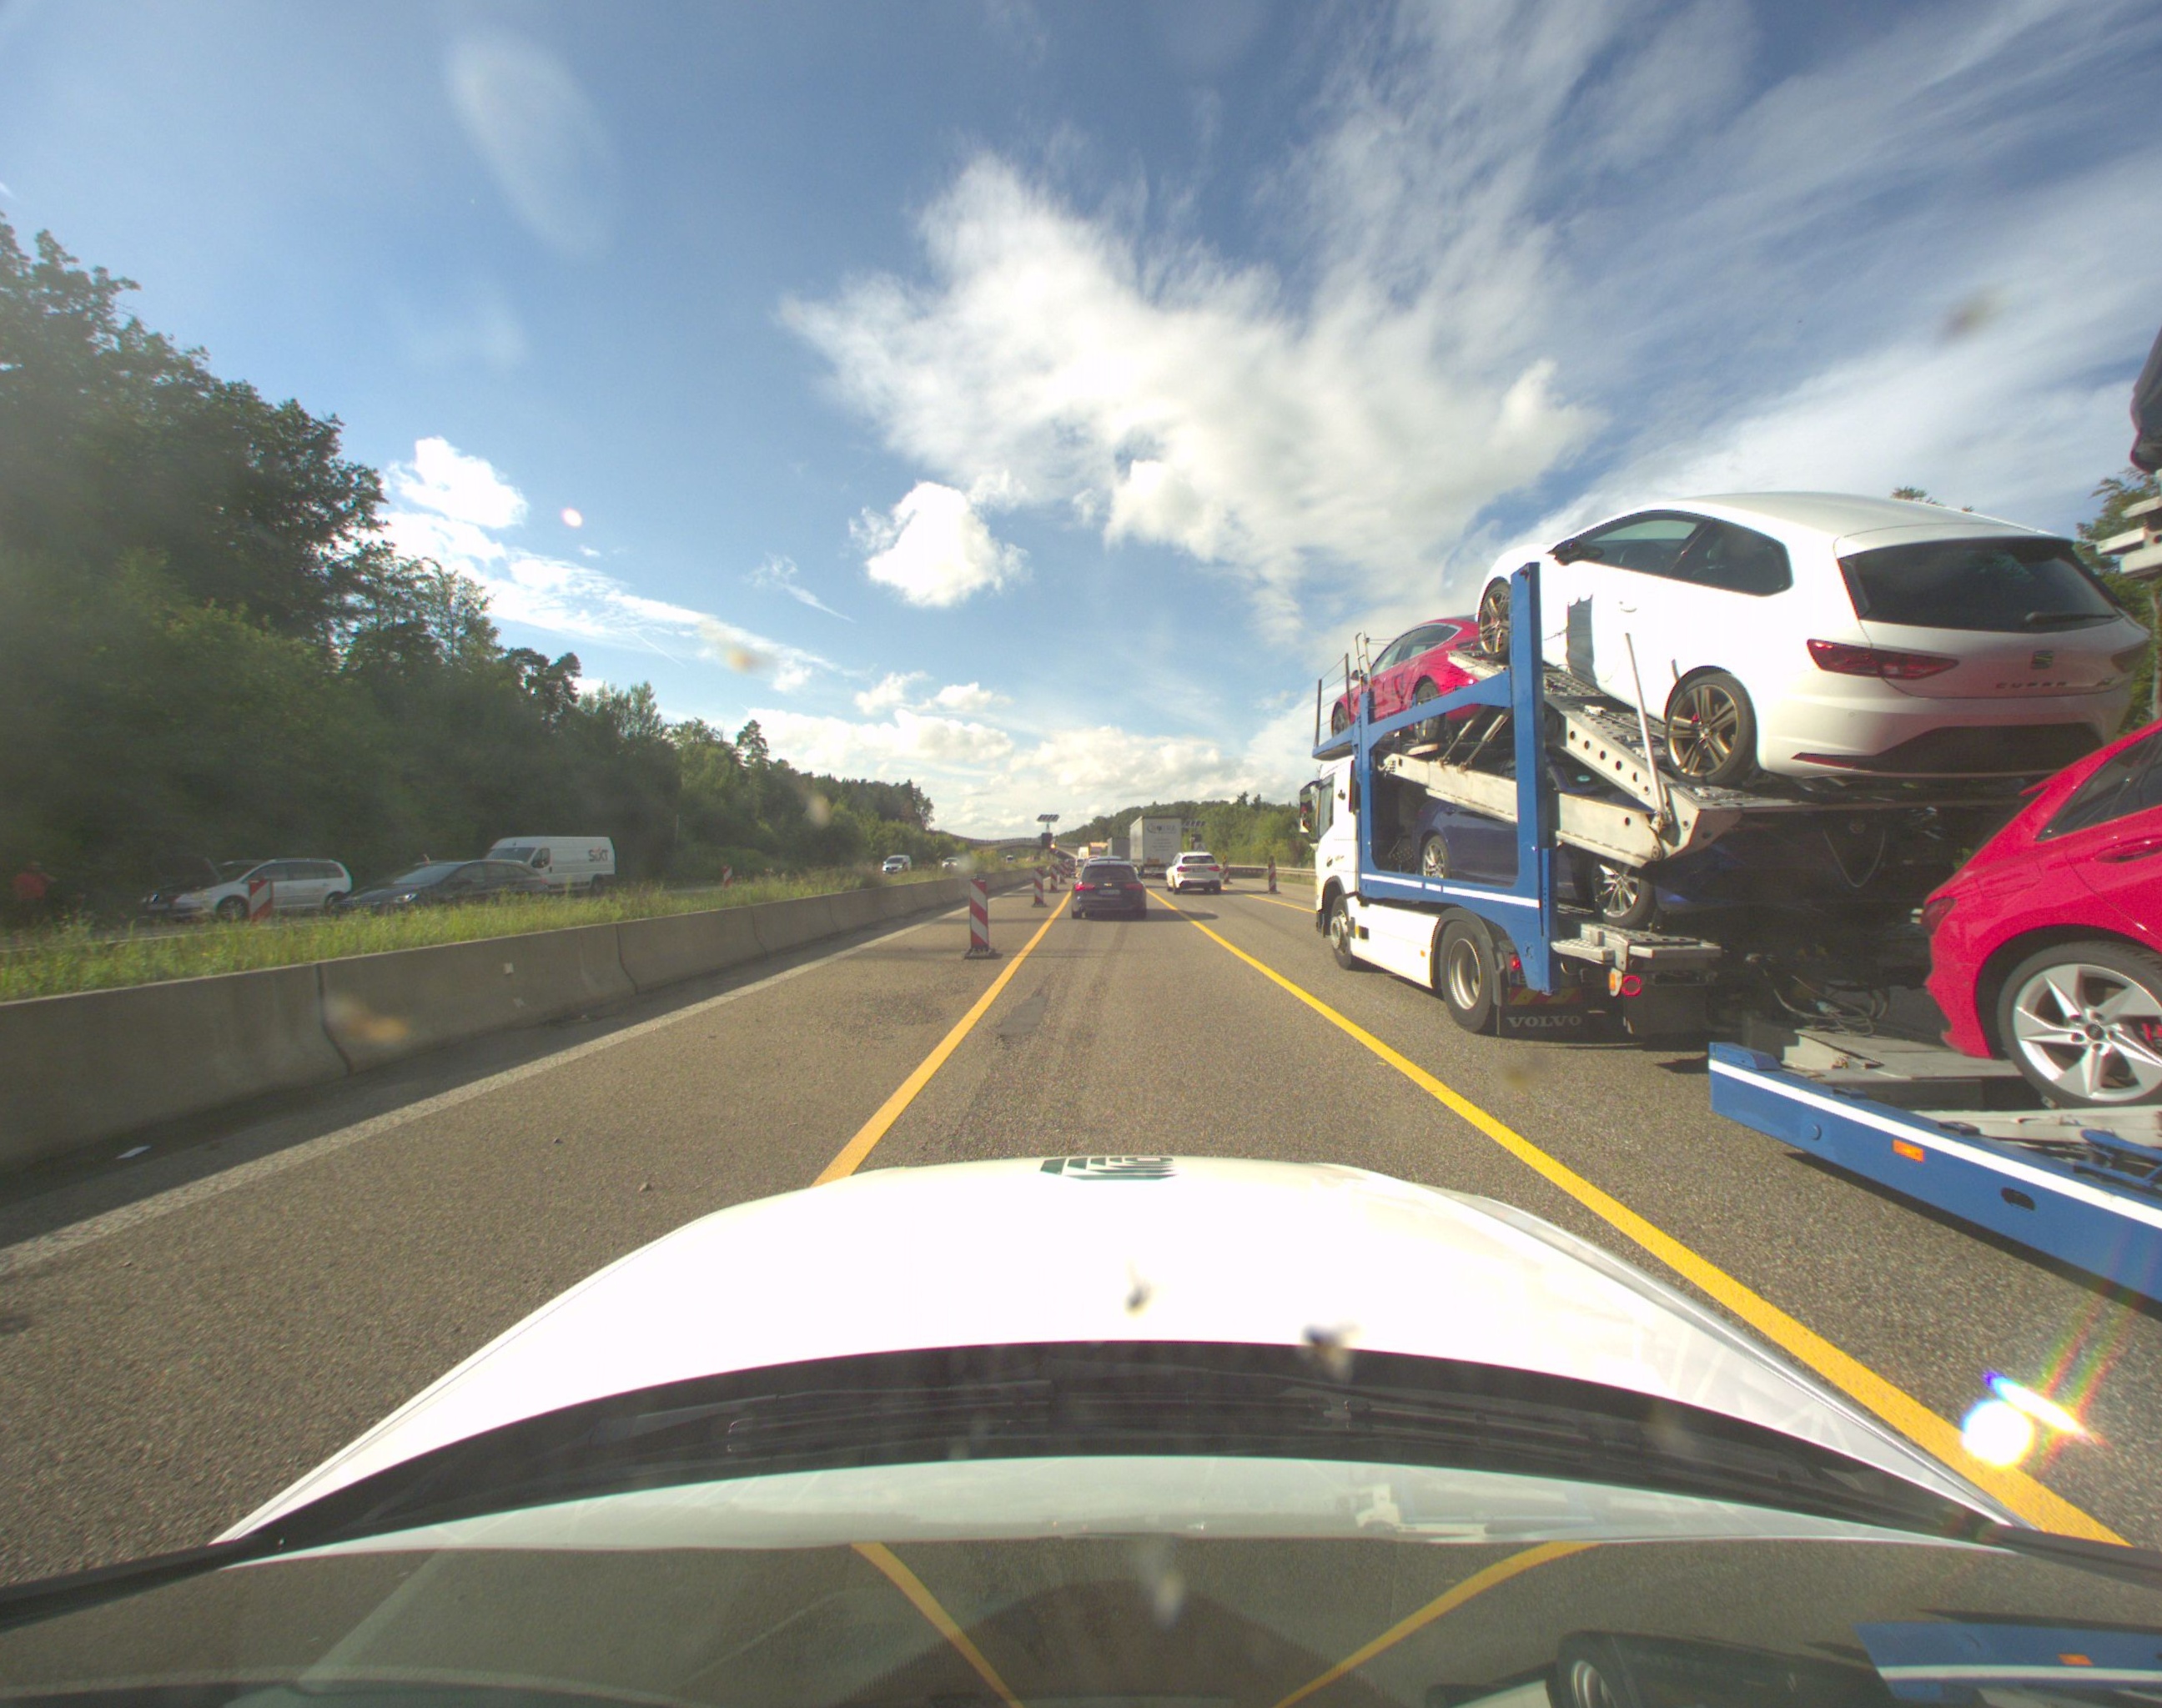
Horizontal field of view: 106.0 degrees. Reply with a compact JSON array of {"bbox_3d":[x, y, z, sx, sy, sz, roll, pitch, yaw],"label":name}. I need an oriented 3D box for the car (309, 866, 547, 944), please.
[{"bbox_3d":[-13.897,1.009,17.705,1.771,1.456,4.106,0,-1,2],"label":"car"}]

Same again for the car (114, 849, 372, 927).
[{"bbox_3d":[-22.001,0.833,21.753,1.853,1.853,4.763,0,-1,2],"label":"car"}]

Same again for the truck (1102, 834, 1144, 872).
[{"bbox_3d":[5.328,-0.078,105.632,4.309,4.600,11.113,0,-1,-3],"label":"truck"}]

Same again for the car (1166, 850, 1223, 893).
[{"bbox_3d":[4.569,0.704,33.314,1.883,1.643,4.019,0,-1,2],"label":"car"}]

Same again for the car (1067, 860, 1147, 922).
[{"bbox_3d":[0.676,0.901,21.149,1.883,1.446,4.001,0,-1,2],"label":"car"}]

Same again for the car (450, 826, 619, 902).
[{"bbox_3d":[-21.114,0.383,31.964,2.020,2.684,6.525,0,-1,2],"label":"car"}]

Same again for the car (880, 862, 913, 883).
[{"bbox_3d":[-16.132,1.559,71.421,1.771,1.786,4.366,0,-1,2],"label":"car"}]

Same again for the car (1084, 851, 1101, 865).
[{"bbox_3d":[1.378,0.531,100.668,1.885,1.643,4.014,0,-1,-2],"label":"car"}]

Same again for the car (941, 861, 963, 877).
[{"bbox_3d":[-15.462,1.776,97.635,1.771,1.786,4.366,0,-1,2],"label":"car"}]

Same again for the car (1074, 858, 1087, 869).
[{"bbox_3d":[-0.145,1.673,148.664,1.991,2.014,3.991,0,-1,-6],"label":"car"}]

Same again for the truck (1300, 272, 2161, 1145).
[{"bbox_3d":[4.979,-0.677,7.889,3.747,4.196,7.953,0,-1,1],"label":"truck"}]

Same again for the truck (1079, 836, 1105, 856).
[{"bbox_3d":[2.107,-1.518,163.745,3.652,3.928,11.034,0,-1,-8],"label":"truck"}]

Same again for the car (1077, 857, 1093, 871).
[{"bbox_3d":[0.572,1.398,118.907,1.989,2.014,3.995,0,-1,-4],"label":"car"}]

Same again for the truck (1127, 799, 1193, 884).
[{"bbox_3d":[5.474,-0.693,59.688,3.664,5.353,16.205,0,-1,1],"label":"truck"}]
